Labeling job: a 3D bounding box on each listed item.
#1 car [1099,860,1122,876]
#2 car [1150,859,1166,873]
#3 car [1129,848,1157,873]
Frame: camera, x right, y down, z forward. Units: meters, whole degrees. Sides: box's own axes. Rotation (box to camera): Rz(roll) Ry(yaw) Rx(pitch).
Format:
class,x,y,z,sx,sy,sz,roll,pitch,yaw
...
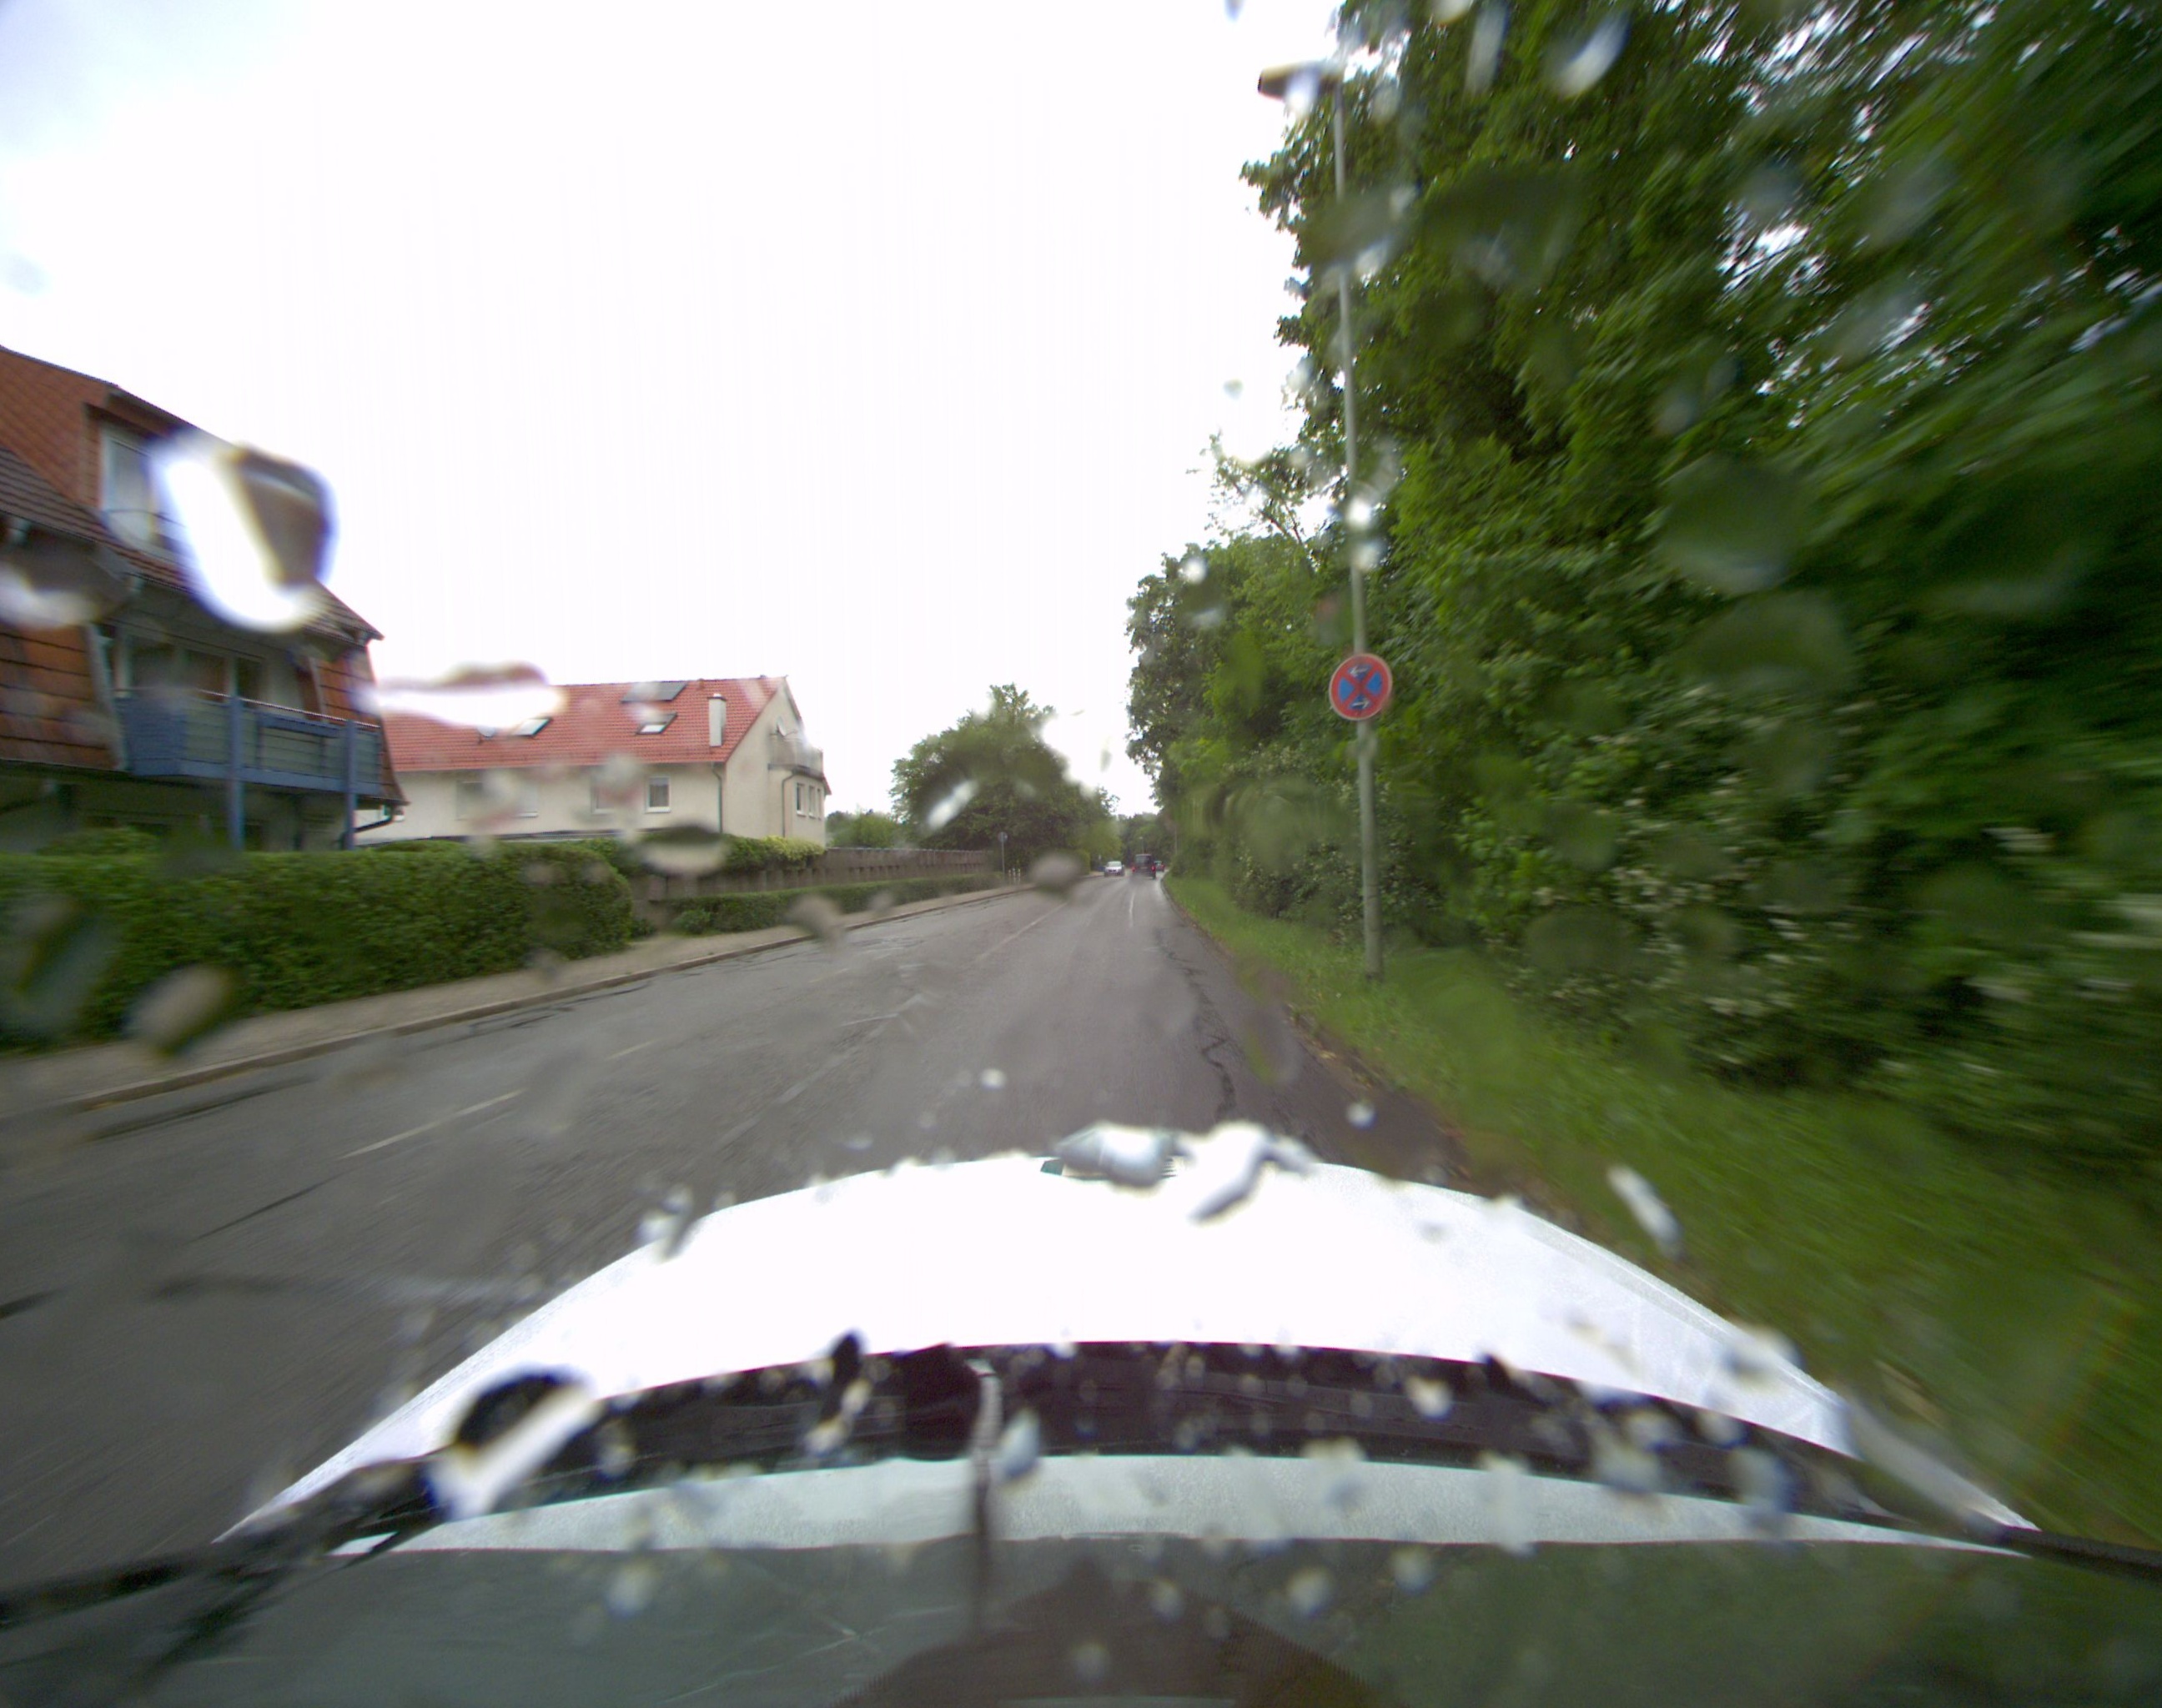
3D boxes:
class,x,y,z,sx,sy,sz,roll,pitch,yaw
car,2.843,1.336,78.266,1.985,1.420,4.490,-3,0,4
car,10.458,1.606,111.019,1.942,1.750,4.004,-2,0,3
car,4.750,0.478,61.659,1.984,1.793,4.007,1,1,6
